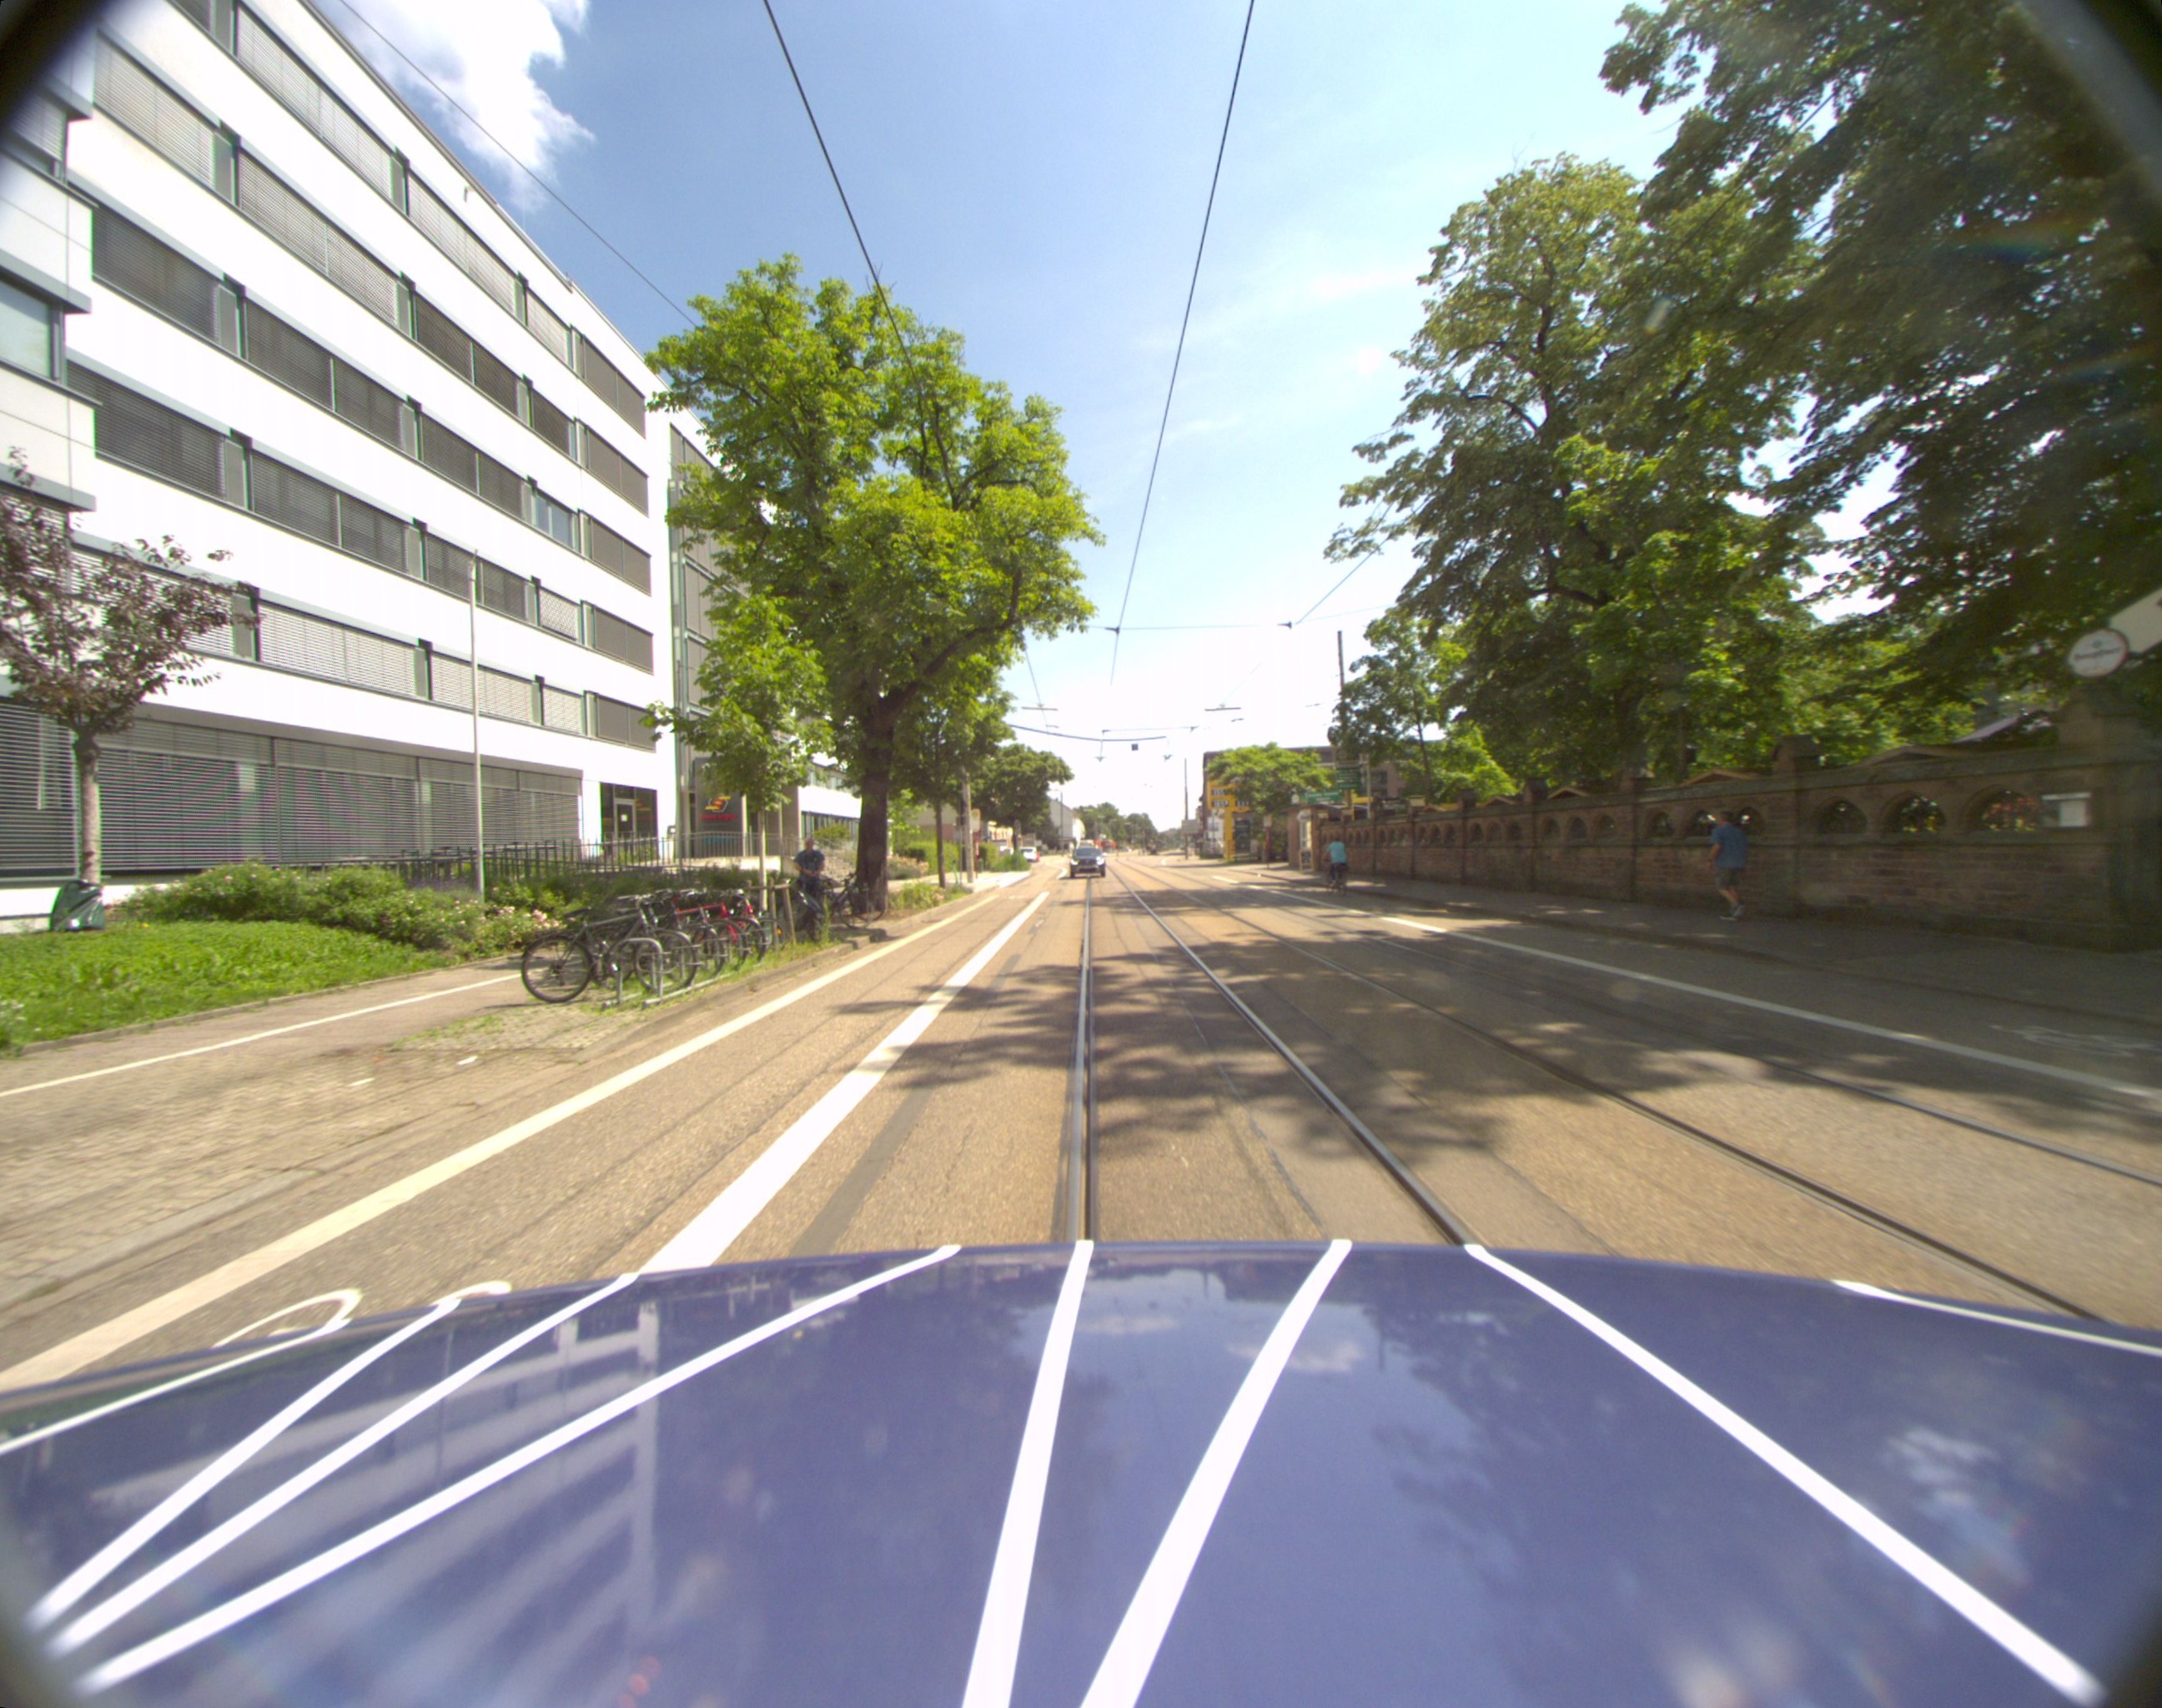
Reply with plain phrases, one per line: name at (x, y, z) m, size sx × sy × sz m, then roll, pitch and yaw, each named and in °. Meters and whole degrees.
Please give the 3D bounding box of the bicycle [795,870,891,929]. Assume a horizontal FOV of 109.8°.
bicycle at (-5.041, 0.952, 16.217) m, size 1.819 × 1.158 × 0.710 m, roll -1°, pitch 1°, yaw -7°

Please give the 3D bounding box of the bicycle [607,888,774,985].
bicycle at (-5.079, 1.064, 9.958) m, size 1.812 × 1.105 × 0.569 m, roll -3°, pitch 1°, yaw -3°

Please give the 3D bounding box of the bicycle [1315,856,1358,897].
bicycle at (7.660, 0.642, 22.835) m, size 0.661 × 1.157 × 1.895 m, roll 1°, pitch 1°, yaw 1°

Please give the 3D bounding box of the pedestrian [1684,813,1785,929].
pedestrian at (10.376, 0.253, 12.096) m, size 0.750 × 1.738 × 0.919 m, roll -3°, pitch 1°, yaw 1°

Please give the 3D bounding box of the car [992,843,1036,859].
car at (-8.163, -0.338, 92.627) m, size 5.214 × 1.732 × 1.999 m, roll -2°, pitch 1°, yaw -3°

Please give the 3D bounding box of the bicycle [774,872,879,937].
bicycle at (-4.967, 0.972, 14.911) m, size 1.819 × 1.158 × 0.710 m, roll -1°, pitch 1°, yaw -7°

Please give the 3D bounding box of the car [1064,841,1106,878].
car at (0.214, 0.247, 39.626) m, size 1.998 × 1.732 × 4.226 m, roll -2°, pitch 1°, yaw 1°

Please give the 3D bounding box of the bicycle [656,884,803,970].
bicycle at (-5.116, 1.051, 11.131) m, size 1.812 × 1.105 × 0.569 m, roll -3°, pitch 1°, yaw -3°

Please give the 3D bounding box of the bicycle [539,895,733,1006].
bicycle at (-5.069, 1.083, 8.727) m, size 1.812 × 1.105 × 0.569 m, roll -3°, pitch 1°, yaw -3°

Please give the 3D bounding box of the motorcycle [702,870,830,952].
motorcycle at (-5.250, 0.939, 12.775) m, size 1.819 × 1.269 × 0.720 m, roll -1°, pitch 1°, yaw -7°

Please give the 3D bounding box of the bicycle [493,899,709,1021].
bicycle at (-5.046, 1.101, 8.066) m, size 1.846 × 1.105 × 0.569 m, roll -3°, pitch 1°, yaw -3°

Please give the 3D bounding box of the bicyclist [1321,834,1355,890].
bicyclist at (7.659, 0.223, 22.698) m, size 0.665 × 1.616 × 0.919 m, roll 1°, pitch 1°, yaw 1°

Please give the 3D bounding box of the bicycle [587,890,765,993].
bicycle at (-4.959, 1.061, 9.379) m, size 1.812 × 1.105 × 0.569 m, roll -3°, pitch 1°, yaw -3°

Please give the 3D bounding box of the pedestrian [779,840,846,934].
pedestrian at (-5.448, 0.646, 15.428) m, size 0.986 × 1.822 × 0.786 m, roll -3°, pitch 2°, yaw -42°
